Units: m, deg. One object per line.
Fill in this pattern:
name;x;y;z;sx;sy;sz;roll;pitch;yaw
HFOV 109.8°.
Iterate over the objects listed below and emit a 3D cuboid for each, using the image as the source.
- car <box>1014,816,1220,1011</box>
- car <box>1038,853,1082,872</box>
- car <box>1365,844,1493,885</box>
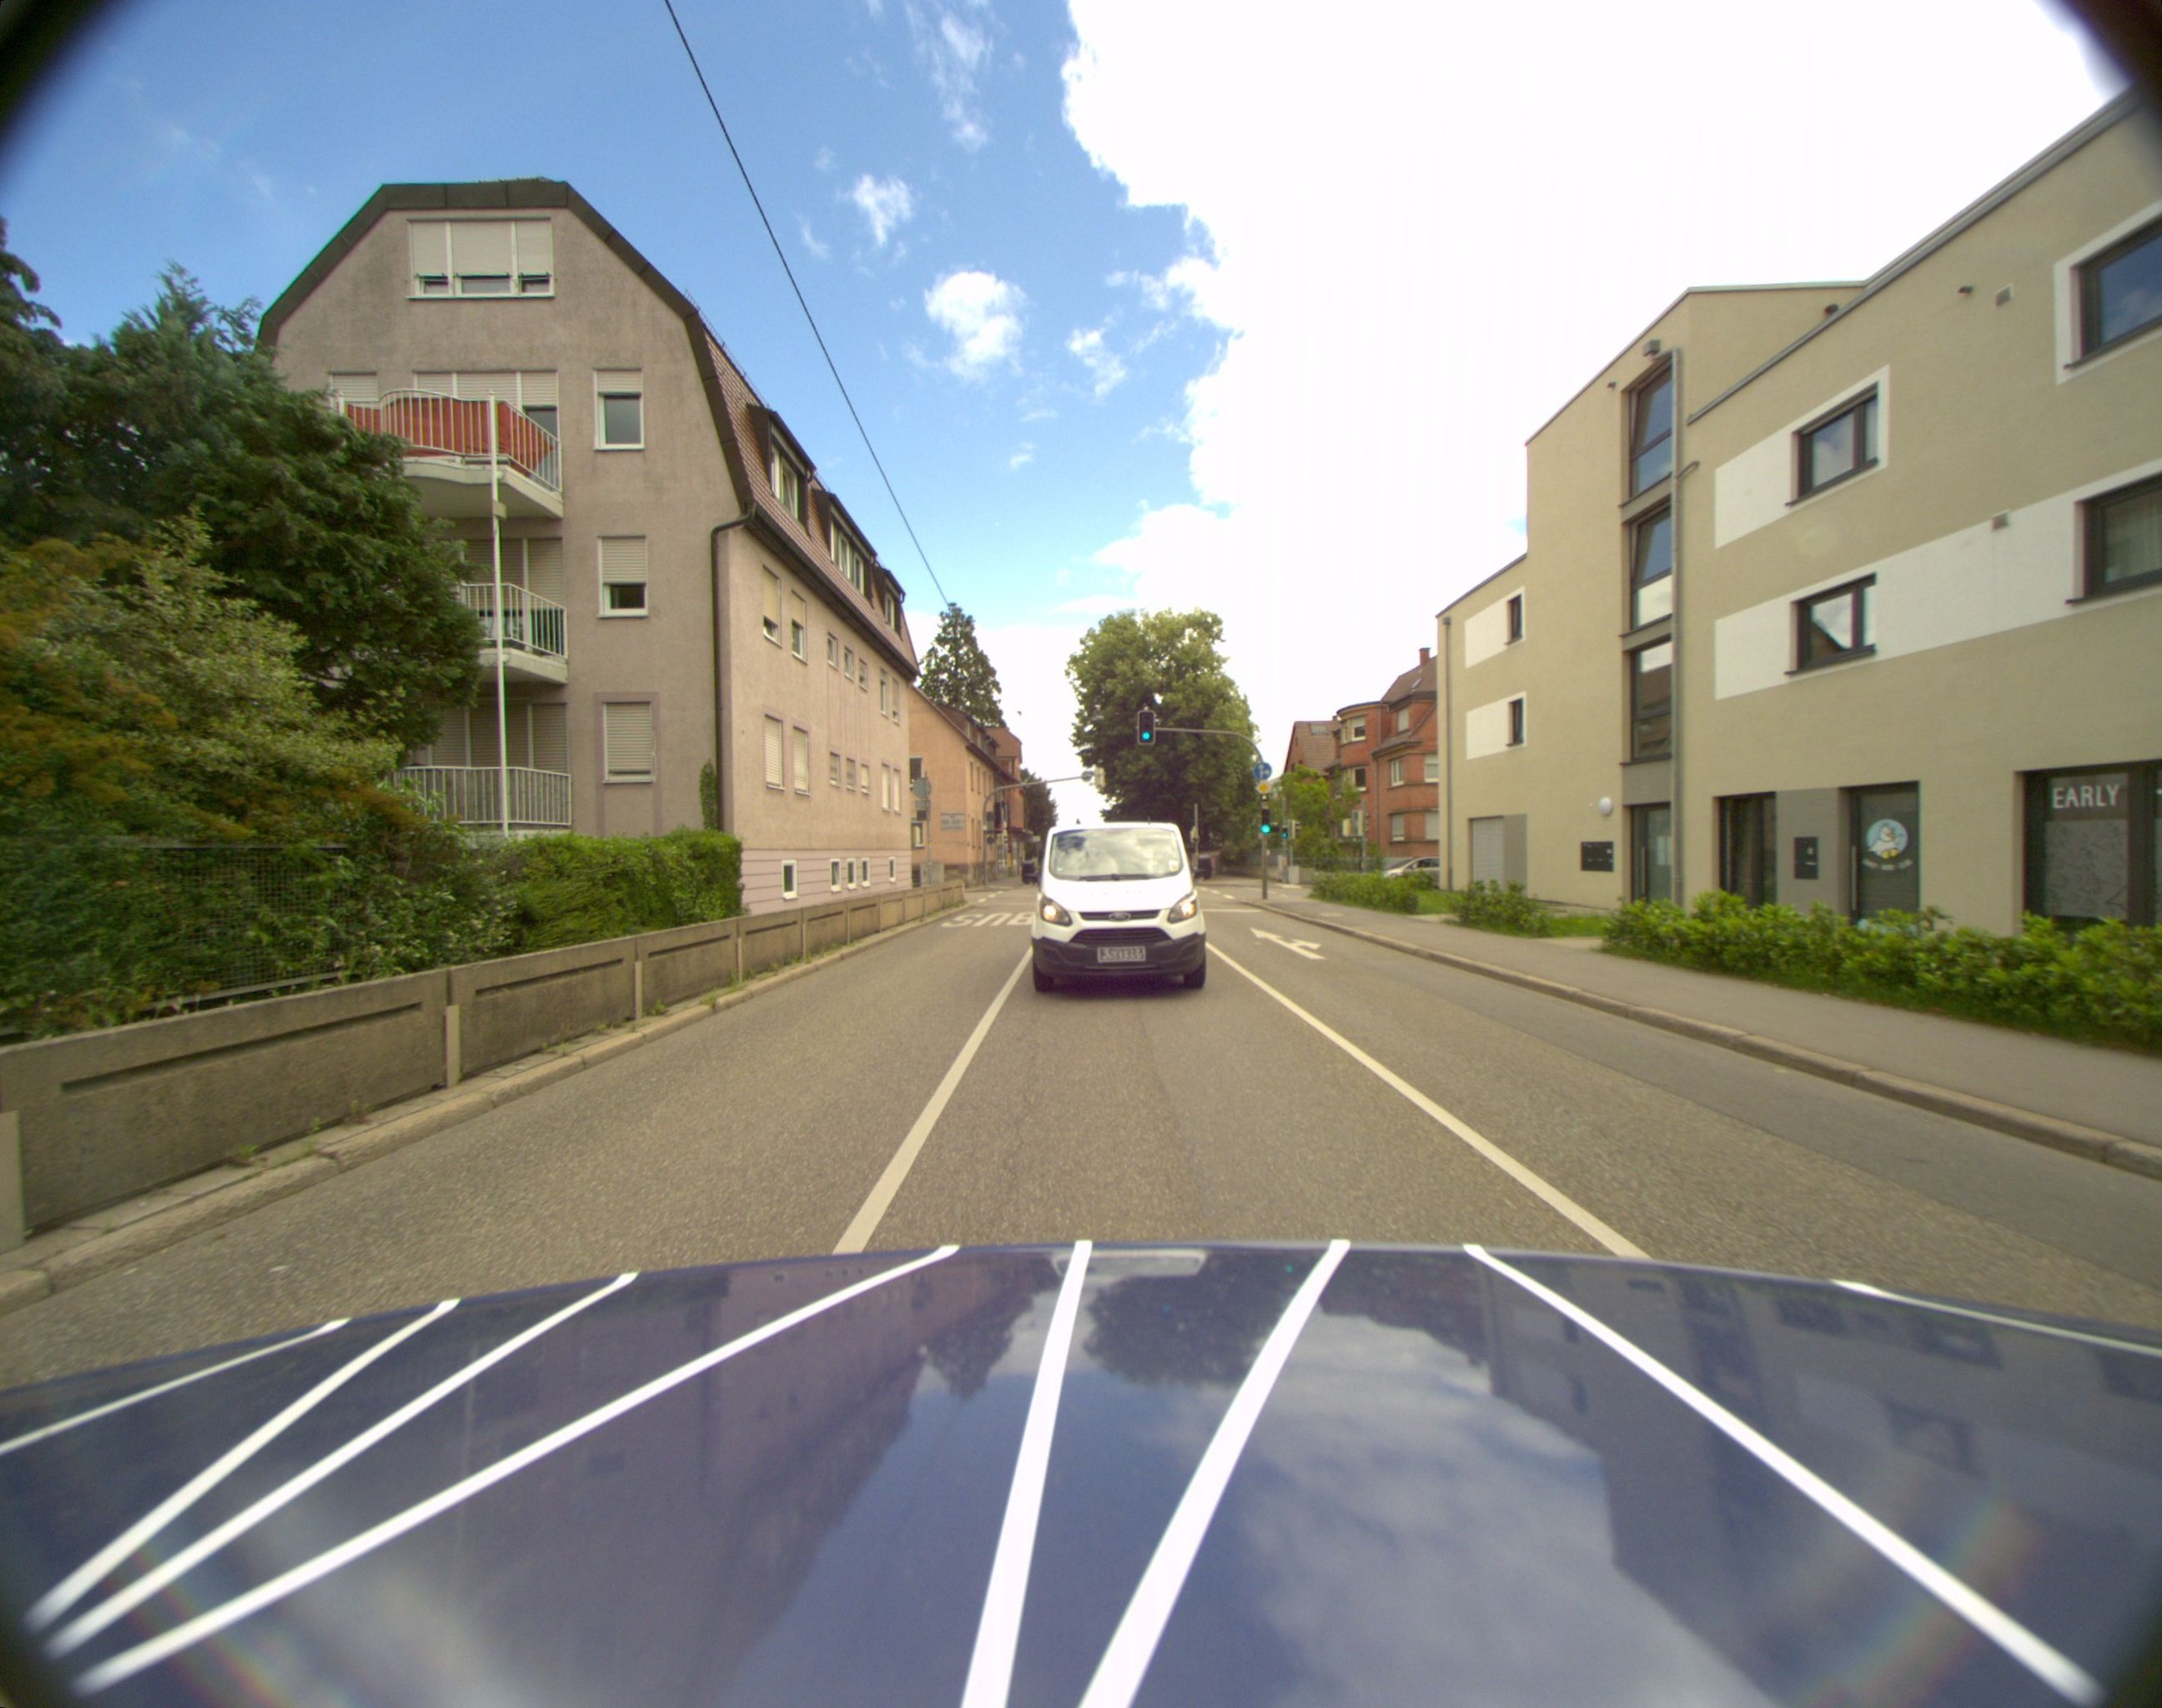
car;0.382;0.598;10.280;2.062;1.945;5.060;-1;0;0
car;-2.075;0.865;75.721;4.002;1.674;1.836;-3;1;-16
car;15.688;0.433;34.408;4.813;1.675;2.175;-1;0;-4
